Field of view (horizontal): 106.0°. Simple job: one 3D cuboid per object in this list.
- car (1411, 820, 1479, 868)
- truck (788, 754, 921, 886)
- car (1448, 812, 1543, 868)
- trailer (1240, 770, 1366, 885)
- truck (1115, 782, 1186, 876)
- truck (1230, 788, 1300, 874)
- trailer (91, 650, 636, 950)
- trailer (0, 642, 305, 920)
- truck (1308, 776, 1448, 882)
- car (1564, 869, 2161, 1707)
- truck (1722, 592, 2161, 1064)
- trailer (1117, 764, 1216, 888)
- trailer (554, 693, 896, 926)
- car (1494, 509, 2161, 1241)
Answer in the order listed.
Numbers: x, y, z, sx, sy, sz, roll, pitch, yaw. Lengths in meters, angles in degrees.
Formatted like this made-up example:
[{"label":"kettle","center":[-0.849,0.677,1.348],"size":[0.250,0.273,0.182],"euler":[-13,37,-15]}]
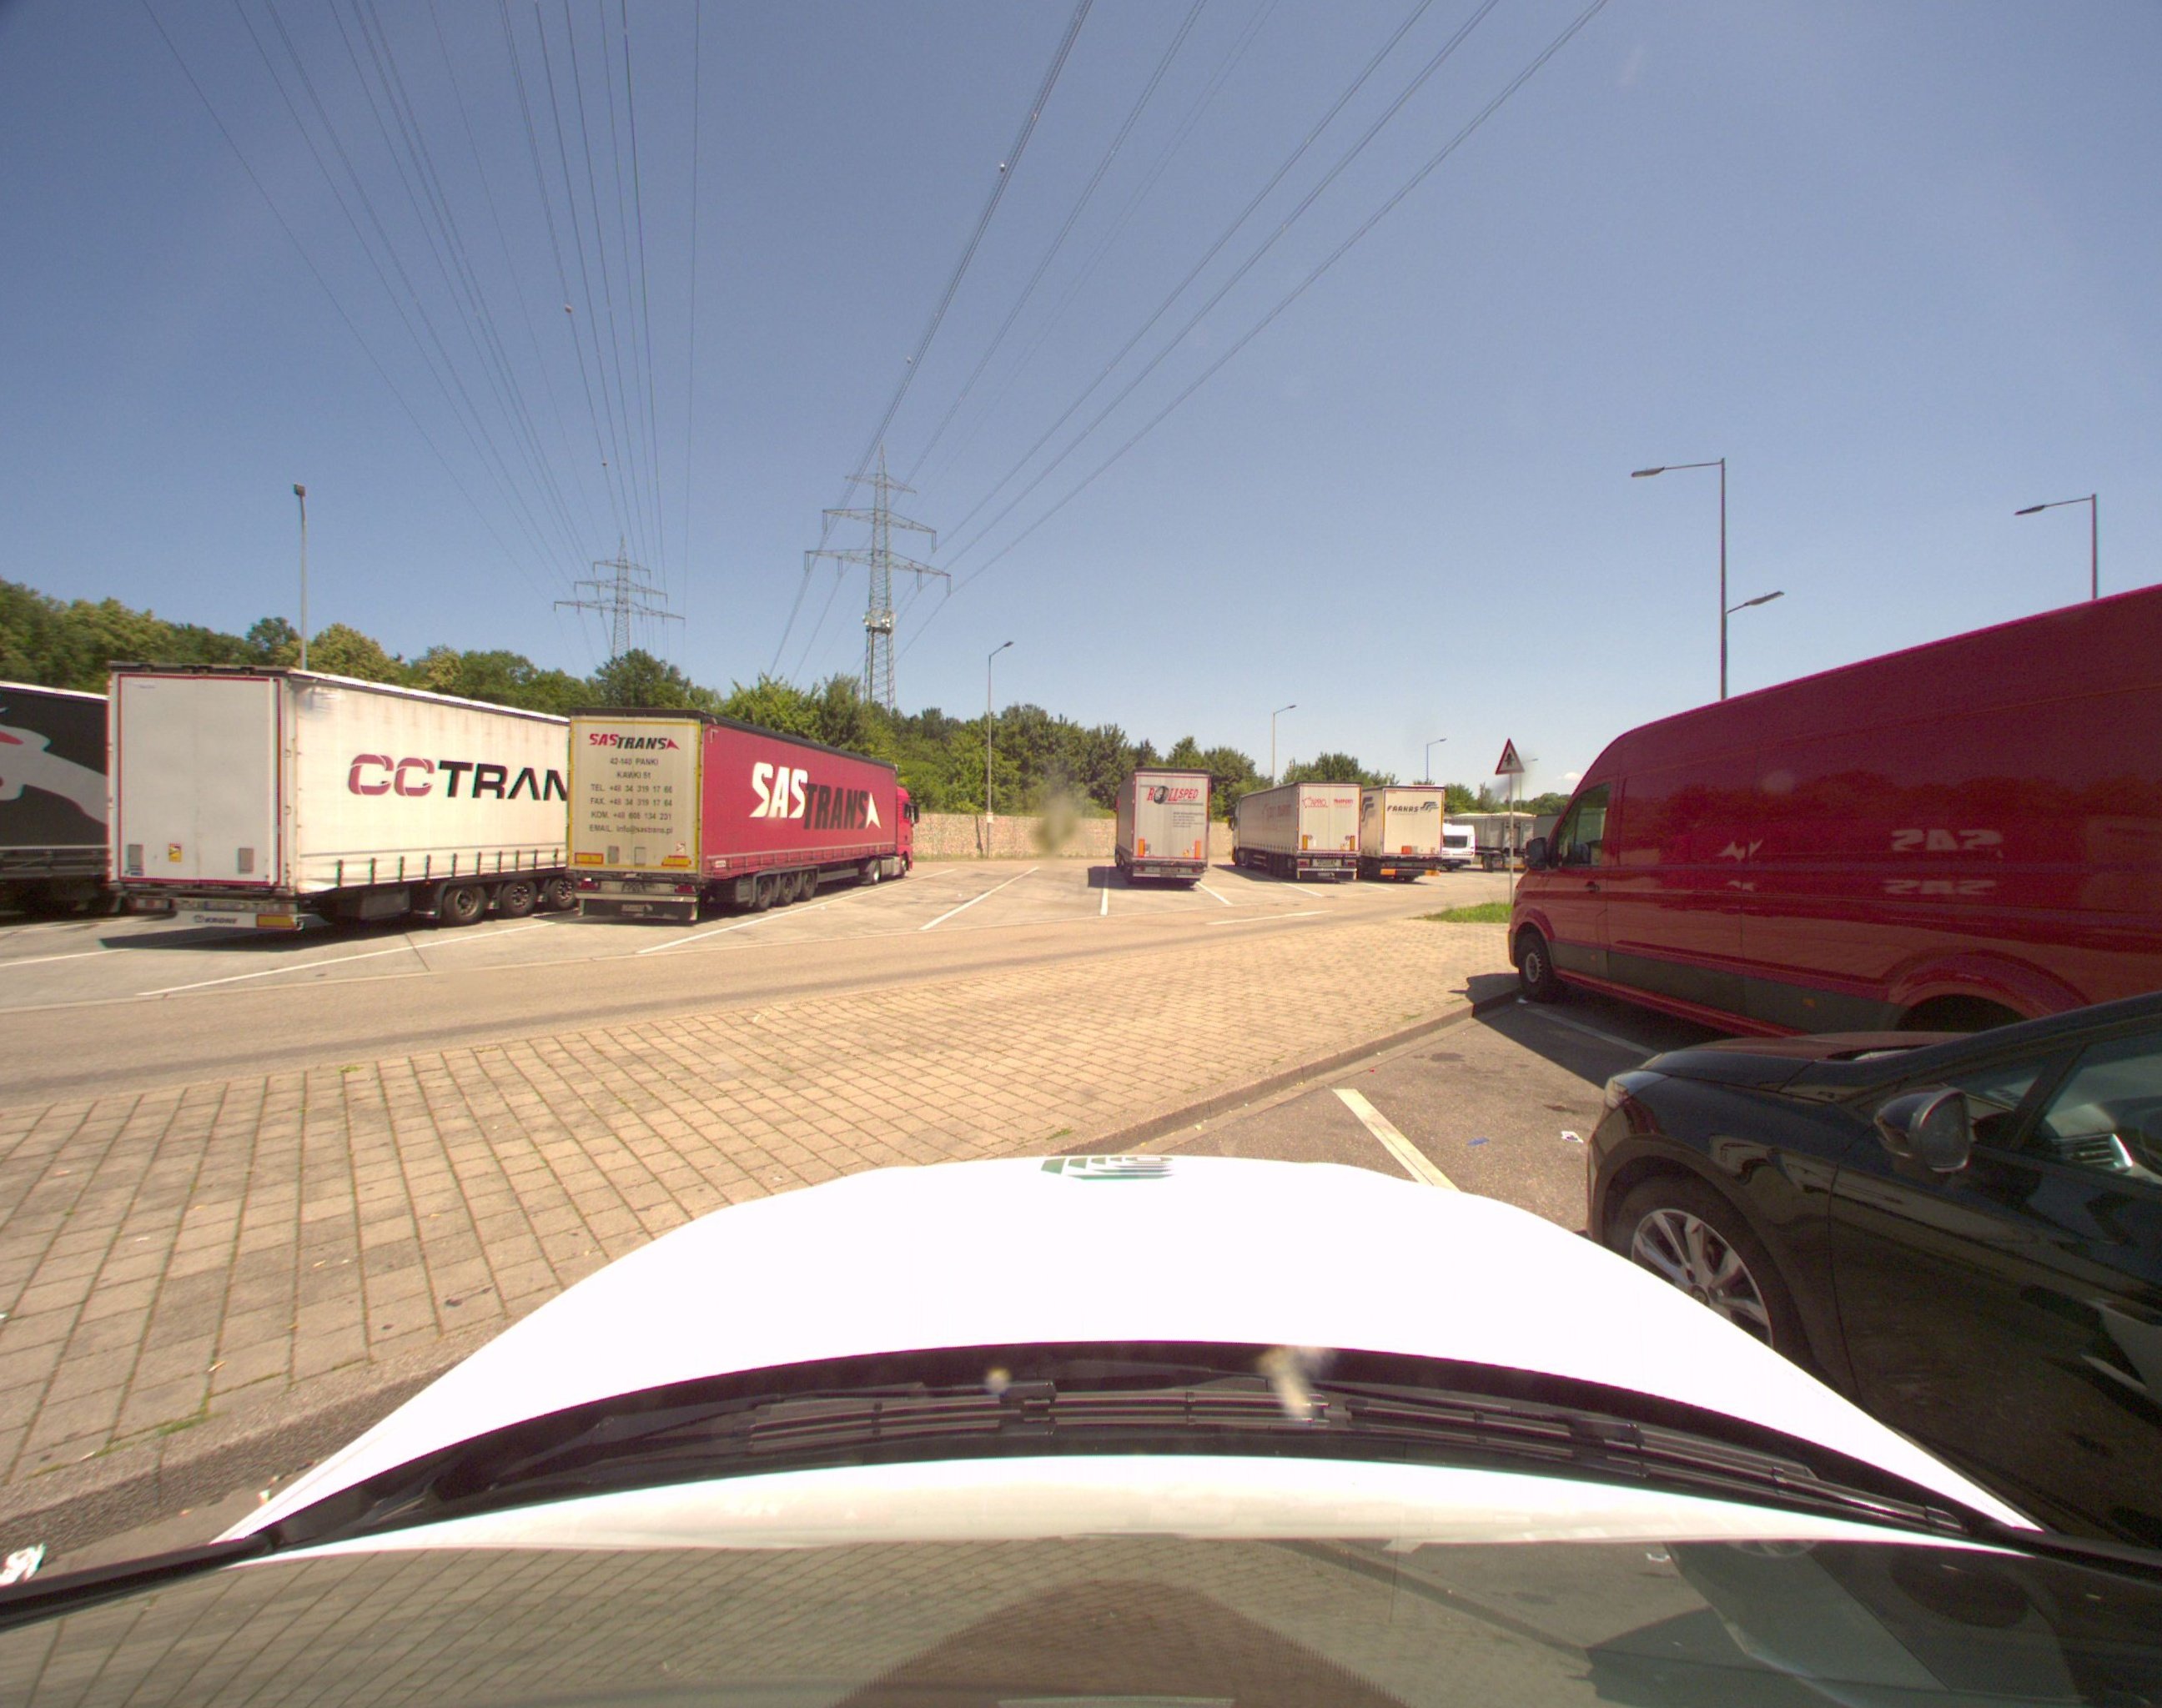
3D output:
[{"label":"car","center":[20.540,-0.514,46.135],"size":[2.107,2.599,4.001],"euler":[0,-1,2]},{"label":"truck","center":[-7.748,-1.120,28.715],"size":[2.795,4.133,5.896],"euler":[-1,1,2]},{"label":"car","center":[24.138,-0.817,47.757],"size":[2.490,3.074,6.353],"euler":[-1,1,2]},{"label":"trailer","center":[9.906,-1.112,38.165],"size":[2.672,4.452,12.833],"euler":[-1,1,1]},{"label":"truck","center":[3.096,-1.096,37.837],"size":[2.862,3.980,6.030],"euler":[-1,1,1]},{"label":"truck","center":[10.077,-1.229,45.130],"size":[2.651,4.452,5.866],"euler":[-1,1,2]},{"label":"trailer","center":[-12.200,-0.812,15.421],"size":[2.744,4.152,8.291],"euler":[0,1,2]},{"label":"trailer","center":[-18.560,-1.182,14.883],"size":[2.668,4.444,6.151],"euler":[-1,1,2]},{"label":"truck","center":[13.535,-0.938,38.556],"size":[2.577,4.226,11.974],"euler":[0,-1,2]},{"label":"car","center":[2.566,0.770,0.867],"size":[1.772,1.457,3.681],"euler":[0,-1,-4]},{"label":"truck","center":[7.795,-0.152,6.003],"size":[2.508,2.827,4.821],"euler":[0,-1,3]},{"label":"trailer","center":[3.038,-1.004,32.263],"size":[2.887,4.013,11.319],"euler":[-1,1,1]},{"label":"trailer","center":[-7.997,-0.898,21.459],"size":[2.789,4.219,13.208],"euler":[-1,1,2]},{"label":"car","center":[5.134,0.031,5.498],"size":[1.984,2.633,6.393],"euler":[-1,1,5]}]
